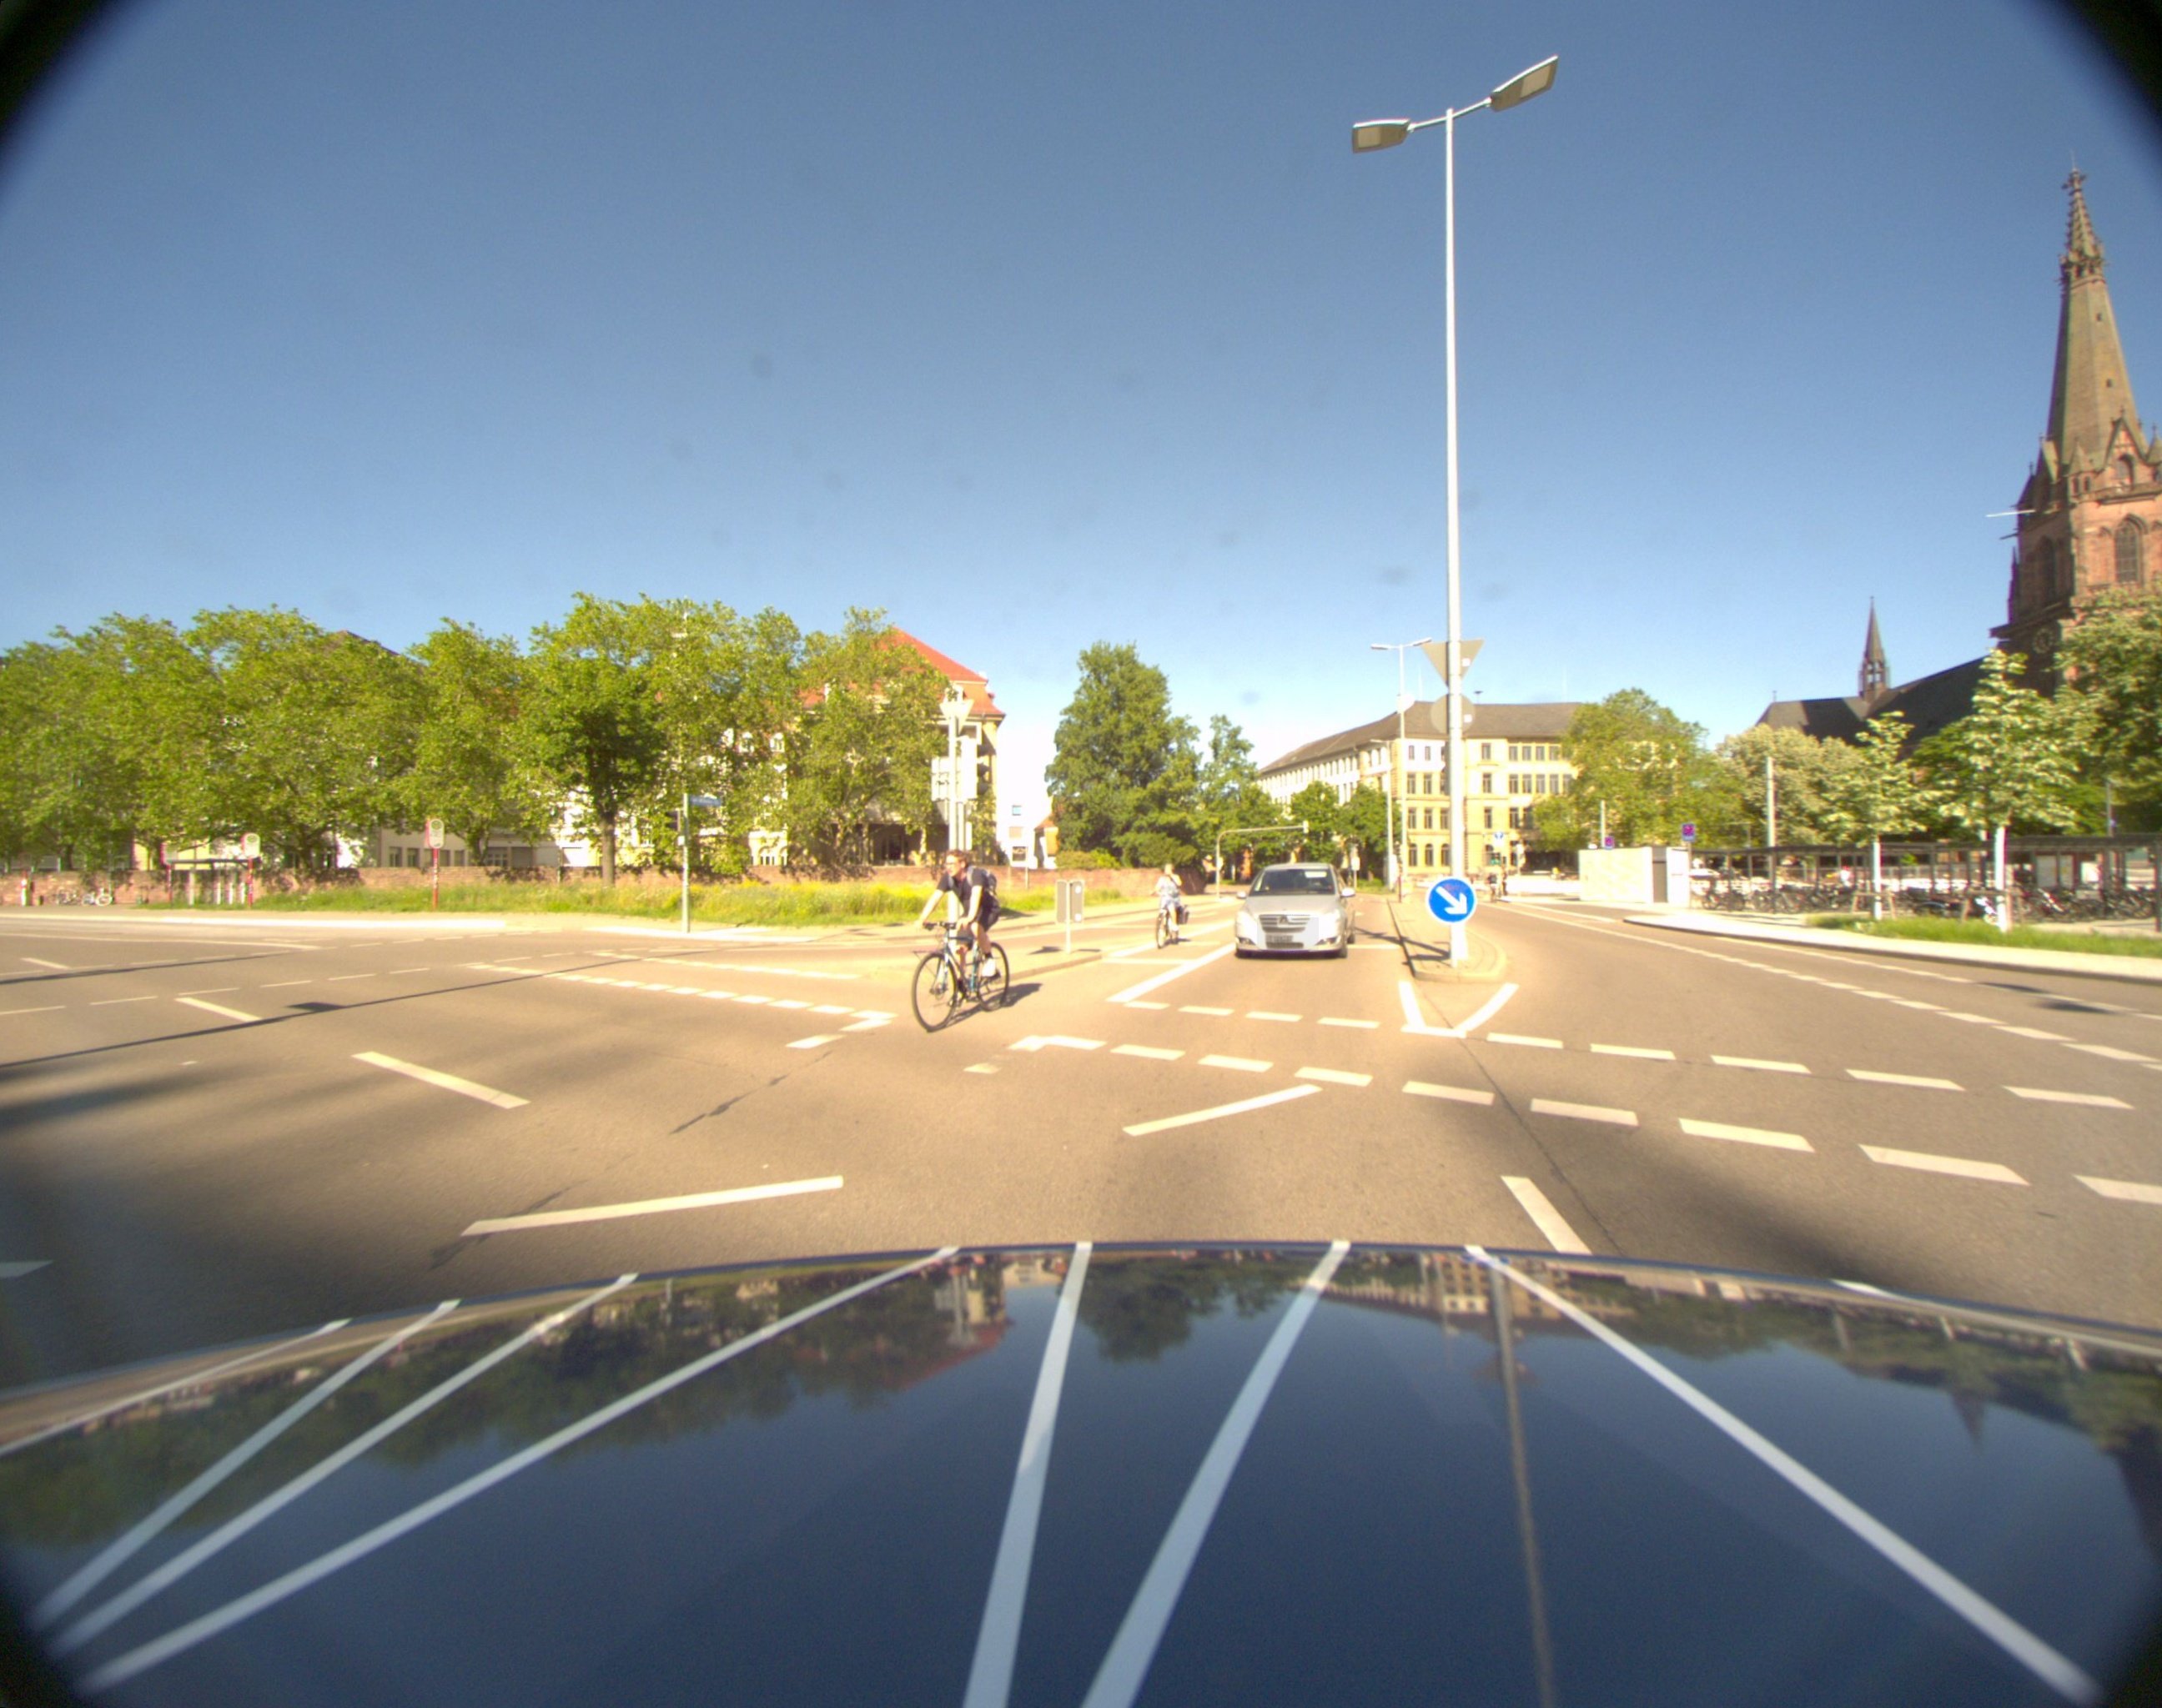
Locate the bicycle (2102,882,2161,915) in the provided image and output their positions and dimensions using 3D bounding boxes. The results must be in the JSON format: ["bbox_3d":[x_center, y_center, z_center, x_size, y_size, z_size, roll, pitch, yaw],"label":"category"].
[{"bbox_3d":[34.816,1.434,24.742,0.568,1.031,1.785,1,-1,-16],"label":"bicycle"}]

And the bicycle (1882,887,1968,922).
[{"bbox_3d":[27.156,1.621,24.489,0.568,1.031,1.785,1,-1,-16],"label":"bicycle"}]

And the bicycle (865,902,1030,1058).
[{"bbox_3d":[-1.189,1.103,7.235,0.641,1.158,1.873,-1,0,21],"label":"bicycle"}]

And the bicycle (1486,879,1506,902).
[{"bbox_3d":[22.491,1.978,41.192,0.746,1.158,1.873,1,-1,22],"label":"bicycle"}]

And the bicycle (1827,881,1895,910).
[{"bbox_3d":[30.315,1.595,29.546,0.568,1.031,1.785,1,-1,-16],"label":"bicycle"}]

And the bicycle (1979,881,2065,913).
[{"bbox_3d":[32.662,1.474,26.407,0.568,1.031,1.785,1,-1,-16],"label":"bicycle"}]

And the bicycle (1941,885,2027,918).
[{"bbox_3d":[30.669,1.585,25.843,0.568,1.031,1.785,1,-1,-16],"label":"bicycle"}]

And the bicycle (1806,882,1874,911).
[{"bbox_3d":[29.122,1.608,29.196,0.568,1.031,1.785,1,-1,-16],"label":"bicycle"}]

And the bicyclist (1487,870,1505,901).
[{"bbox_3d":[22.502,1.696,41.233,0.720,1.611,0.979,0,-1,21],"label":"bicyclist"}]

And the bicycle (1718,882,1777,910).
[{"bbox_3d":[26.924,1.688,30.732,0.568,1.031,1.785,1,-1,-16],"label":"bicycle"}]

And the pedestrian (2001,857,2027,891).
[{"bbox_3d":[46.002,0.984,37.462,0.566,1.644,0.519,-3,-2,22],"label":"pedestrian"}]

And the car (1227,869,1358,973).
[{"bbox_3d":[4.043,1.085,13.984,1.768,1.584,4.647,-2,-2,22],"label":"car"}]

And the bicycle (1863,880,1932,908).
[{"bbox_3d":[32.198,1.580,30.005,0.568,1.031,1.785,1,-1,-16],"label":"bicycle"}]

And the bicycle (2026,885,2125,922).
[{"bbox_3d":[30.887,1.523,23.645,0.568,1.031,1.785,1,-1,-16],"label":"bicycle"}]

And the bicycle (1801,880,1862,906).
[{"bbox_3d":[31.731,1.656,32.174,0.568,1.031,1.785,1,-1,-16],"label":"bicycle"}]

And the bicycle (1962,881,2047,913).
[{"bbox_3d":[31.807,1.464,26.211,0.568,1.031,1.785,1,-1,-16],"label":"bicycle"}]

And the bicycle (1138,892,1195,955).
[{"bbox_3d":[1.798,1.392,15.651,0.641,1.158,1.971,-2,-2,22],"label":"bicycle"}]

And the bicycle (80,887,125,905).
[{"bbox_3d":[-63.029,2.683,48.939,2.083,1.069,0.796,-3,-2,6],"label":"bicycle"}]

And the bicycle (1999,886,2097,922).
[{"bbox_3d":[29.605,1.513,23.297,0.568,1.031,1.785,1,-1,-16],"label":"bicycle"}]

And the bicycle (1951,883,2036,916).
[{"bbox_3d":[31.238,1.546,26.033,0.568,1.031,1.785,1,-1,-16],"label":"bicycle"}]

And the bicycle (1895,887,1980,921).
[{"bbox_3d":[28.211,1.626,25.054,0.568,1.031,1.785,1,-1,-16],"label":"bicycle"}]

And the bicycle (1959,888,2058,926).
[{"bbox_3d":[27.677,1.575,22.711,0.568,1.031,1.785,1,-1,-16],"label":"bicycle"}]

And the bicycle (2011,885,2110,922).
[{"bbox_3d":[30.217,1.507,23.476,0.568,1.031,1.785,1,-1,-16],"label":"bicycle"}]

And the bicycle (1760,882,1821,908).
[{"bbox_3d":[29.368,1.689,31.483,0.568,1.031,1.785,1,-1,-16],"label":"bicycle"}]

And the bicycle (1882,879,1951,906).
[{"bbox_3d":[33.394,1.534,30.403,0.568,1.031,1.785,1,-1,-16],"label":"bicycle"}]

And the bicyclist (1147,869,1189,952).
[{"bbox_3d":[1.788,1.143,15.616,0.642,1.653,0.778,-2,-1,21],"label":"bicyclist"}]

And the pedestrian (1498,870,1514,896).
[{"bbox_3d":[28.007,1.908,50.090,0.788,1.670,0.649,-3,-2,23],"label":"pedestrian"}]

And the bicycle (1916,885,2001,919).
[{"bbox_3d":[29.419,1.590,25.507,0.568,1.031,1.785,1,-1,-16],"label":"bicycle"}]

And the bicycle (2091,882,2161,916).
[{"bbox_3d":[34.203,1.444,24.561,0.568,1.031,1.785,1,-1,-16],"label":"bicycle"}]

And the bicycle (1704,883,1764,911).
[{"bbox_3d":[26.197,1.722,30.517,0.568,1.031,1.785,1,-1,-16],"label":"bicycle"}]

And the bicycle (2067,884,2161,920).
[{"bbox_3d":[33.004,1.511,24.243,0.568,1.031,1.785,1,-1,-16],"label":"bicycle"}]

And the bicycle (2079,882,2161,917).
[{"bbox_3d":[33.590,1.441,24.394,0.568,1.031,1.785,1,-1,-16],"label":"bicycle"}]

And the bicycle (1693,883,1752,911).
[{"bbox_3d":[25.569,1.696,30.338,0.568,1.031,1.785,1,-1,-16],"label":"bicycle"}]

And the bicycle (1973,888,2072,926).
[{"bbox_3d":[28.318,1.576,22.888,0.568,1.031,1.785,1,-1,-16],"label":"bicycle"}]

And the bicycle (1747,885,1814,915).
[{"bbox_3d":[26.099,1.703,28.390,0.568,1.031,1.785,1,-1,-16],"label":"bicycle"}]

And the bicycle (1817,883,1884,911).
[{"bbox_3d":[29.701,1.642,29.363,0.568,1.031,1.785,1,-1,-16],"label":"bicycle"}]

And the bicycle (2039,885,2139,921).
[{"bbox_3d":[31.574,1.508,23.838,0.568,1.031,1.785,1,-1,-16],"label":"bicycle"}]

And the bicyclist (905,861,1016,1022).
[{"bbox_3d":[-1.146,0.796,7.362,0.642,1.436,0.954,-1,0,21],"label":"bicyclist"}]

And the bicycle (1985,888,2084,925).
[{"bbox_3d":[28.897,1.572,23.063,0.568,1.031,1.785,1,-1,-16],"label":"bicycle"}]

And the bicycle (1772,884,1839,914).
[{"bbox_3d":[27.352,1.684,28.722,0.568,1.031,1.785,1,-1,-16],"label":"bicycle"}]

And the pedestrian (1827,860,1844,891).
[{"bbox_3d":[42.637,1.207,42.939,0.683,1.711,0.537,6,-6,-38],"label":"pedestrian"}]

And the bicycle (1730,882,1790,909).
[{"bbox_3d":[27.587,1.679,30.922,0.568,1.031,1.785,1,-1,-16],"label":"bicycle"}]

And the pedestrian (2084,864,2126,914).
[{"bbox_3d":[36.073,1.232,26.768,0.618,1.712,0.681,0,-1,-17],"label":"pedestrian"}]

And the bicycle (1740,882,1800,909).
[{"bbox_3d":[28.190,1.682,31.112,0.568,1.031,1.785,1,-1,-16],"label":"bicycle"}]

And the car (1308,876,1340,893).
[{"bbox_3d":[23.091,2.897,72.361,1.998,1.464,4.301,-3,-2,6],"label":"car"}]

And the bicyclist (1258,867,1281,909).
[{"bbox_3d":[7.683,1.379,30.924,0.783,1.653,0.778,-2,-1,21],"label":"bicyclist"}]

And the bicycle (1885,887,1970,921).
[{"bbox_3d":[27.658,1.611,24.862,0.568,1.031,1.785,1,-1,-16],"label":"bicycle"}]

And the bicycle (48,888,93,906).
[{"bbox_3d":[-65.360,2.794,49.147,2.083,1.069,0.796,-3,-2,6],"label":"bicycle"}]

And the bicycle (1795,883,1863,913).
[{"bbox_3d":[28.534,1.665,29.011,0.568,1.031,1.785,1,-1,-16],"label":"bicycle"}]

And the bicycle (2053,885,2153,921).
[{"bbox_3d":[32.269,1.533,24.026,0.568,1.031,1.785,1,-1,-16],"label":"bicycle"}]

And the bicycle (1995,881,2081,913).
[{"bbox_3d":[33.384,1.479,26.541,0.568,1.031,1.785,1,-1,-16],"label":"bicycle"}]

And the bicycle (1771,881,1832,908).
[{"bbox_3d":[30.005,1.683,31.682,0.568,1.031,1.785,1,-1,-16],"label":"bicycle"}]

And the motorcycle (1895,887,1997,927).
[{"bbox_3d":[25.931,1.560,22.835,0.595,1.112,1.983,0,-1,-12],"label":"motorcycle"}]

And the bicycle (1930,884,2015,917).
[{"bbox_3d":[30.074,1.555,25.679,0.568,1.031,1.785,1,-1,-16],"label":"bicycle"}]

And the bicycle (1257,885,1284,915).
[{"bbox_3d":[7.708,1.847,30.914,0.777,1.158,1.971,-2,-2,22],"label":"bicycle"}]

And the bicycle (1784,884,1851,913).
[{"bbox_3d":[27.950,1.668,28.861,0.568,1.031,1.785,1,-1,-16],"label":"bicycle"}]
